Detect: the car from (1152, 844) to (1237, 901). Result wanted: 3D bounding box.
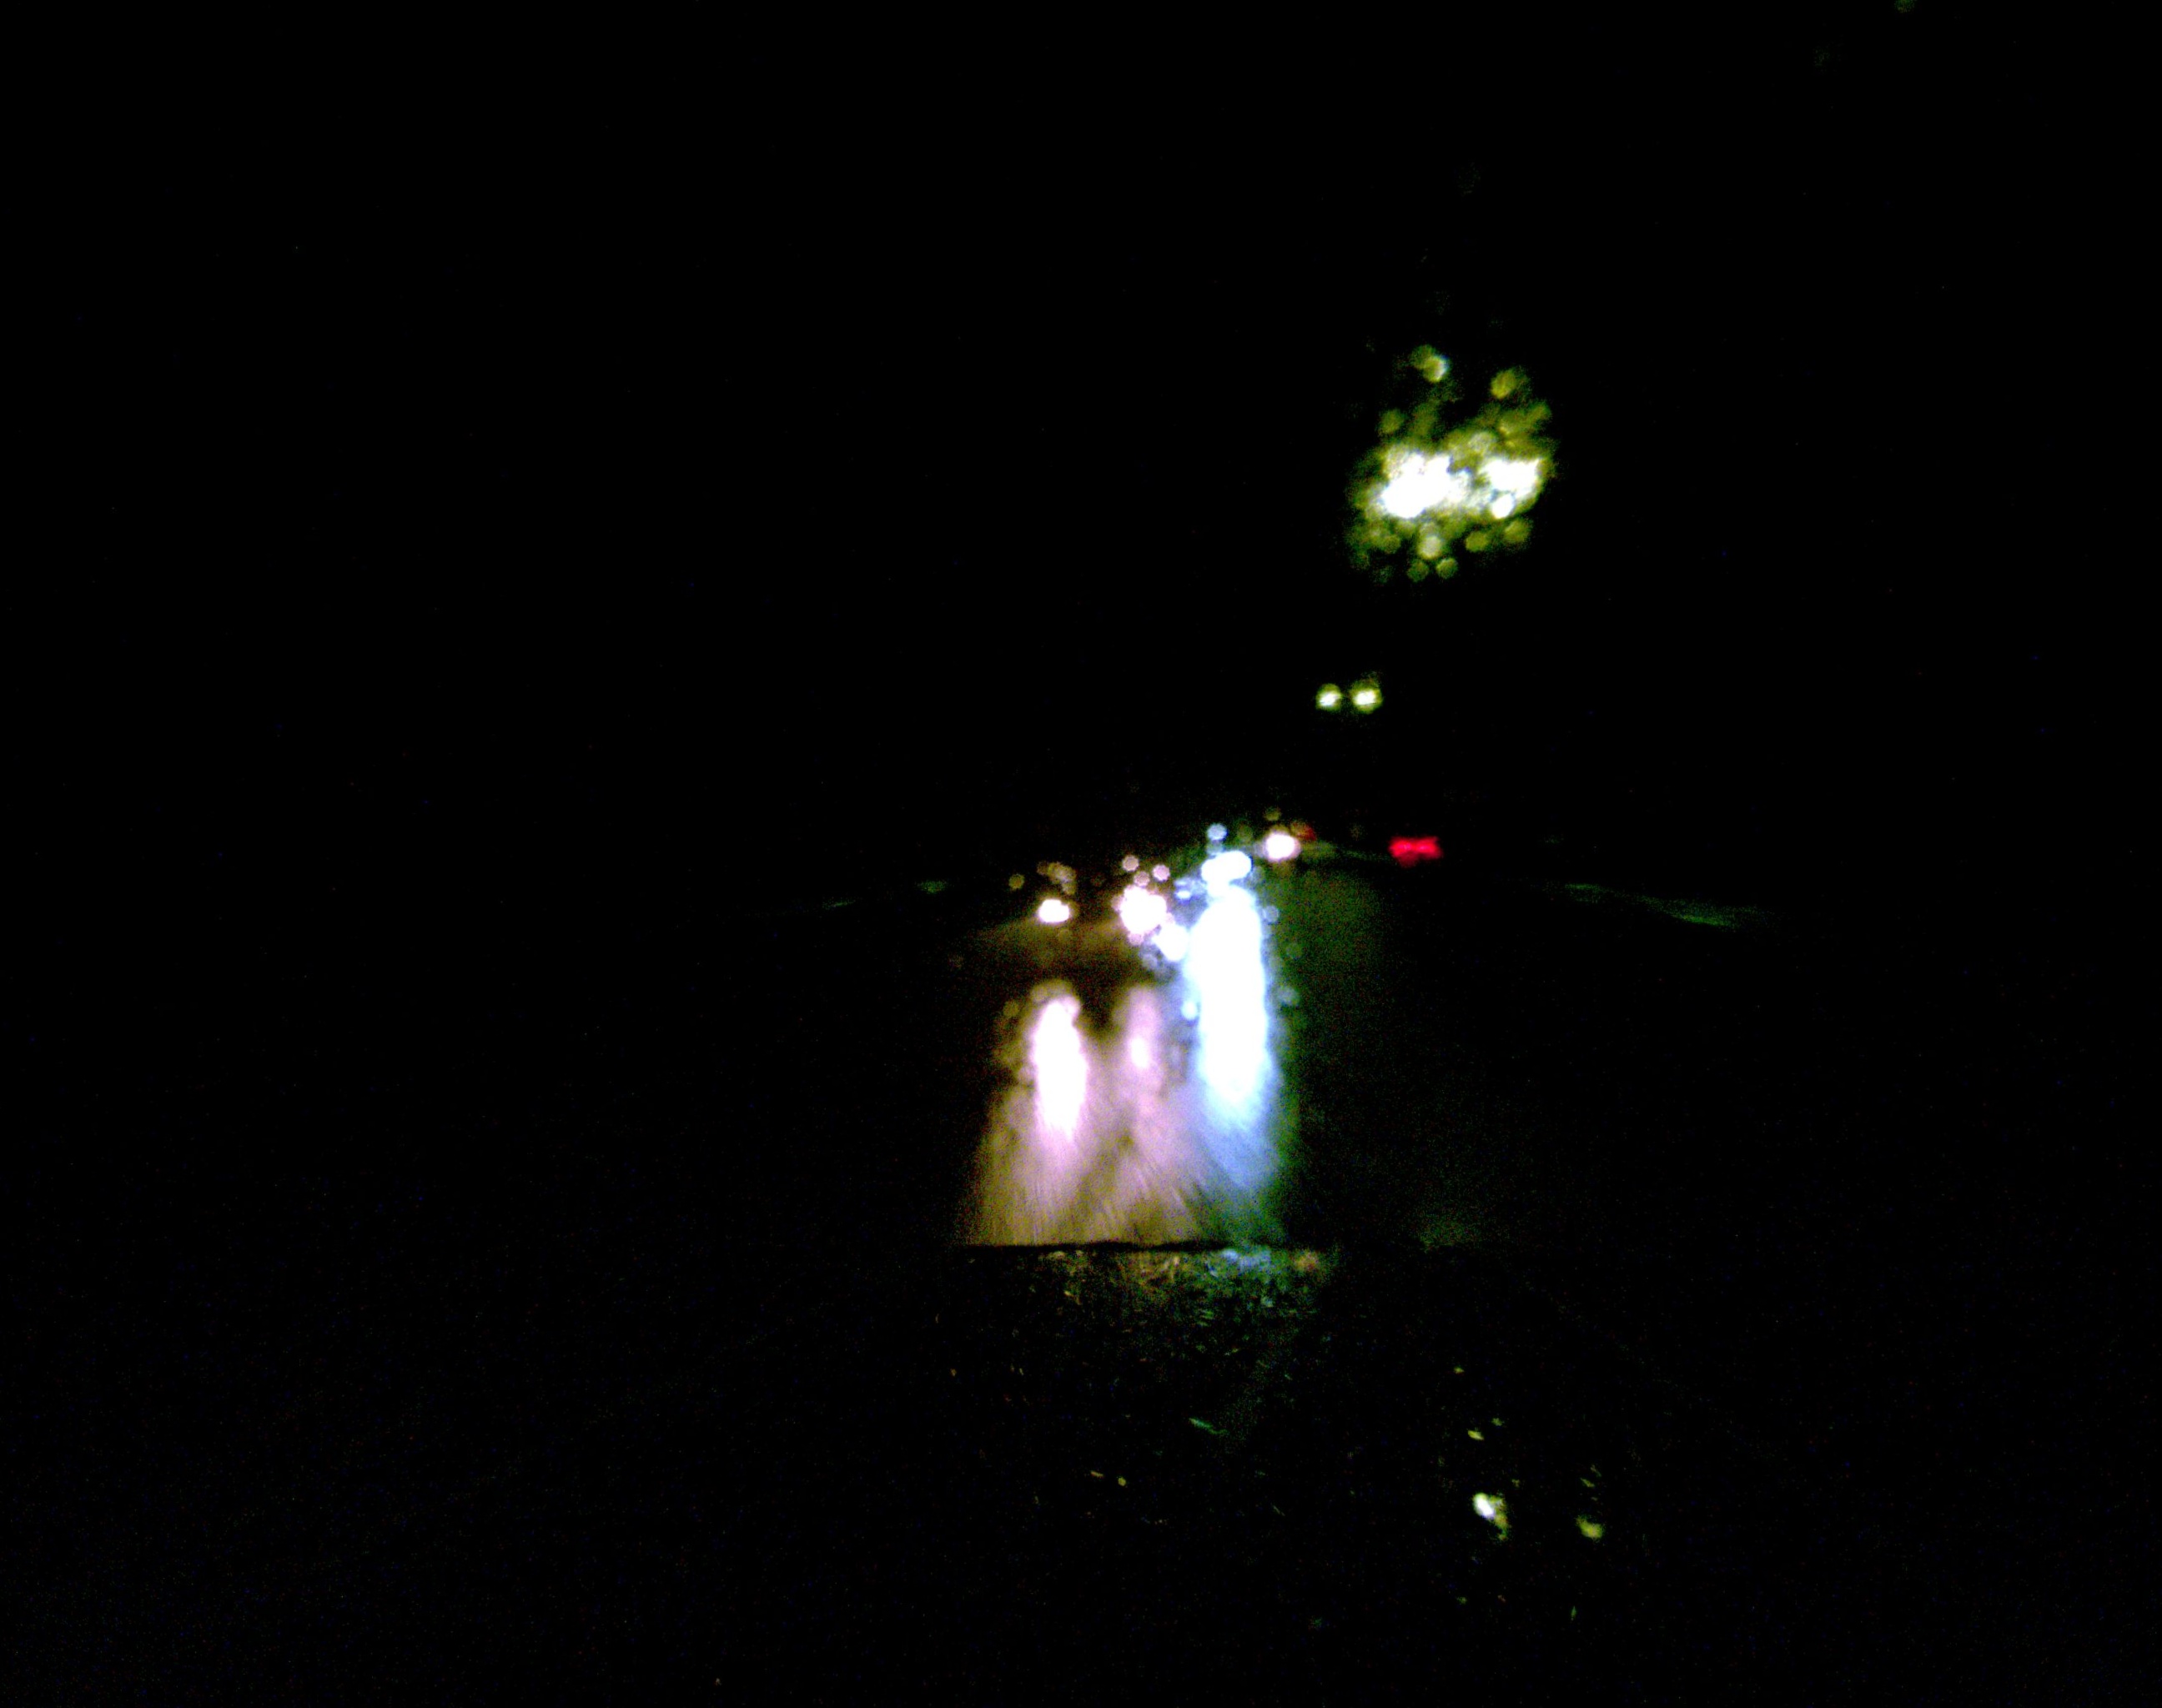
[{"bbox_3d":[3.390,0.469,22.103,1.996,1.456,4.004,-1,1,15],"label":"car"}]

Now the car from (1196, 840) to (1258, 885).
[{"bbox_3d":[5.555,0.284,28.522,1.996,1.531,4.004,-1,1,15],"label":"car"}]

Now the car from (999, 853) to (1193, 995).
[{"bbox_3d":[0.431,0.795,10.569,1.762,1.492,4.004,-2,1,15],"label":"car"}]

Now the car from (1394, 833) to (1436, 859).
[{"bbox_3d":[21.320,-0.520,48.637,1.754,1.543,4.013,-1,1,14],"label":"car"}]

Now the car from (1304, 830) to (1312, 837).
[{"bbox_3d":[63.111,-5.702,211.472,1.786,1.638,4.003,-2,1,14],"label":"car"}]
